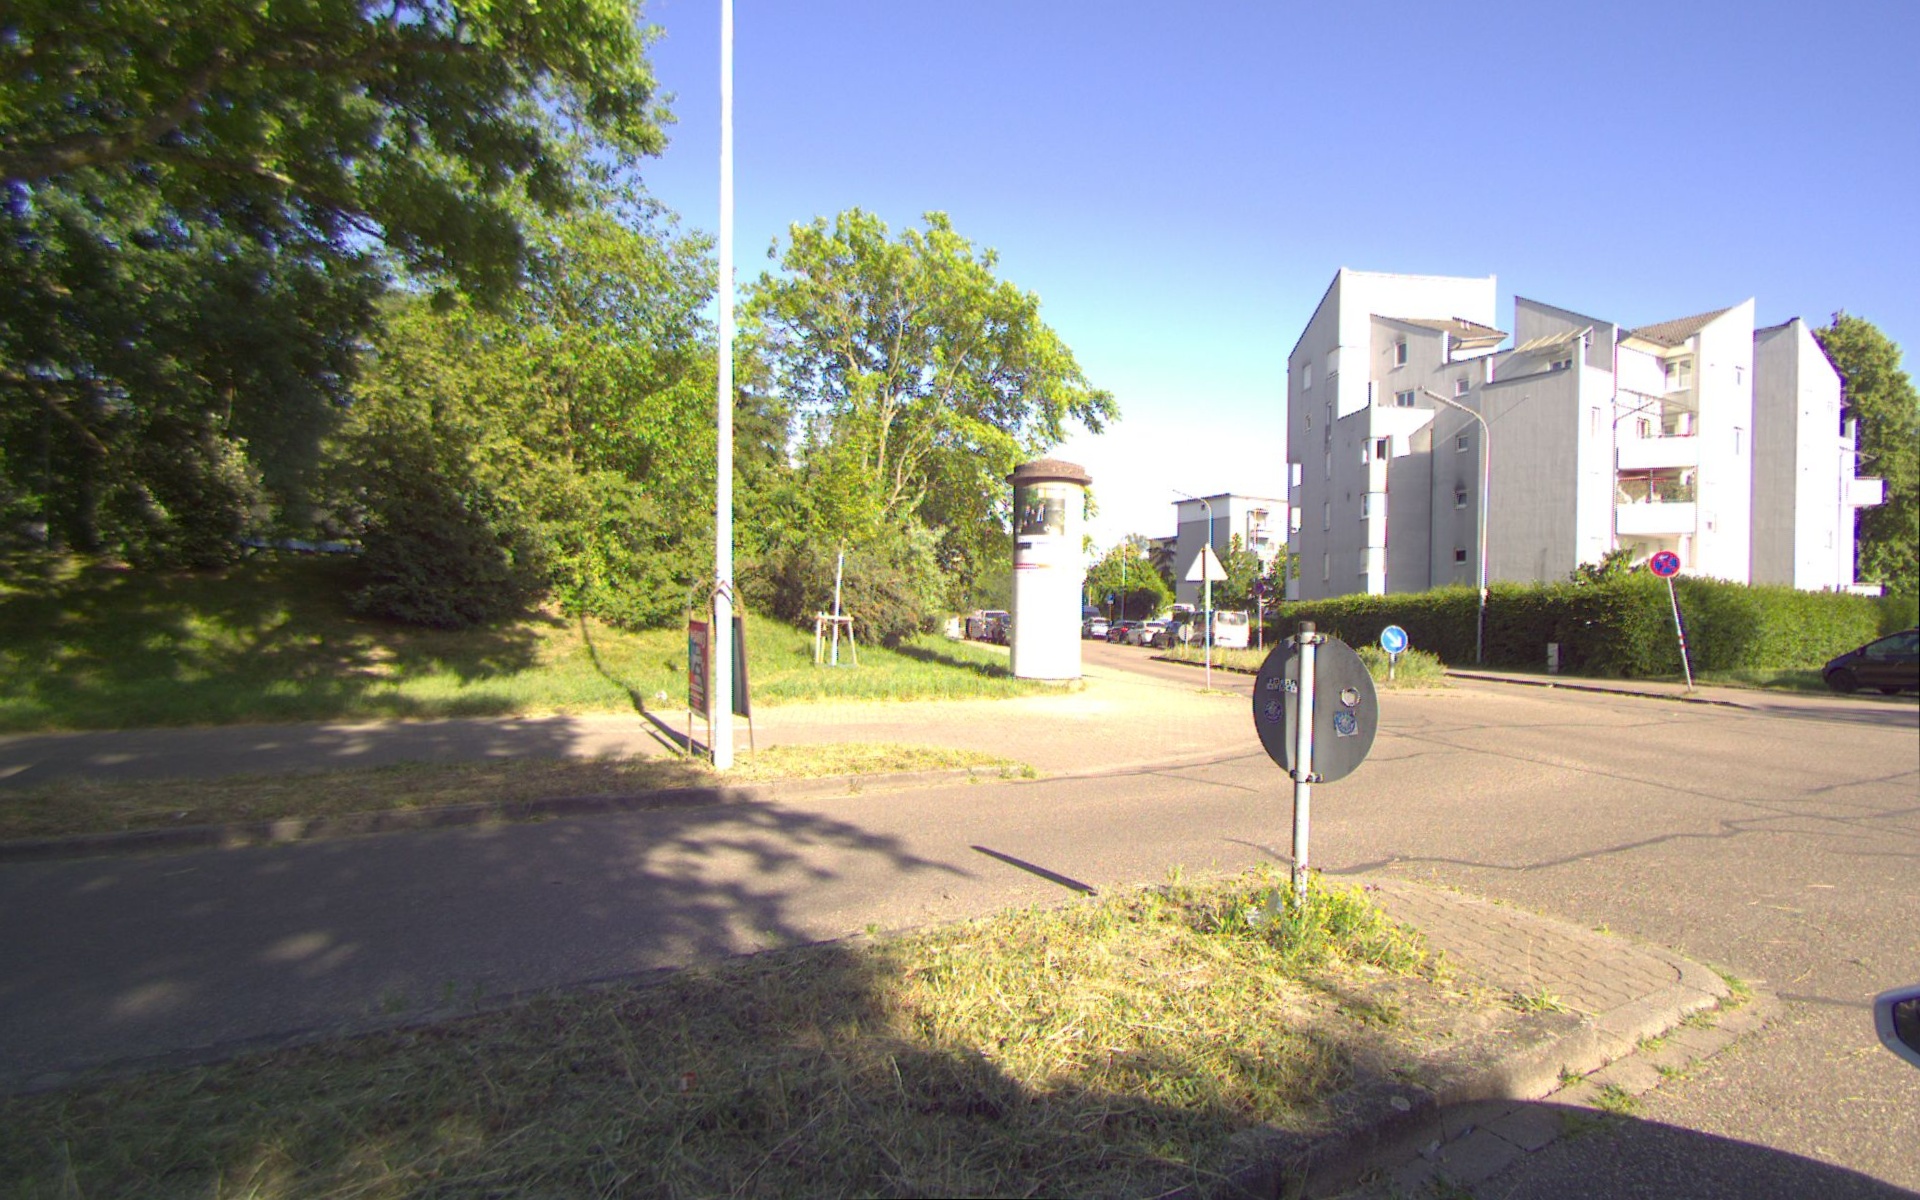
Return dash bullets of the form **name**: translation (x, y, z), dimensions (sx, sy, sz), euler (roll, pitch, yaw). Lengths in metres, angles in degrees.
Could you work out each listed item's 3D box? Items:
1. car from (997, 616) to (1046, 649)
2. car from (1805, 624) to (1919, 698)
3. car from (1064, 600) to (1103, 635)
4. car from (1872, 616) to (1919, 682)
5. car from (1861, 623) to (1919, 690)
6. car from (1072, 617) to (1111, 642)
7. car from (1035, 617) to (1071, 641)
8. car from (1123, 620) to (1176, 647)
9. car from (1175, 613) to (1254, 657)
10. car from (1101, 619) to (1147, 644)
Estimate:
- **car**: translation (2.956, 1.550, 48.729), dimensions (1.602, 1.548, 3.413), euler (1, -1, -11)
- **car**: translation (20.516, 1.283, 21.441), dimensions (1.674, 1.486, 3.525), euler (0, 0, -13)
- **car**: translation (9.614, 1.402, 78.493), dimensions (2.070, 2.519, 5.855), euler (3, -1, -2)
- **car**: translation (25.991, 1.235, 24.708), dimensions (1.759, 1.676, 4.979), euler (1, -1, -24)
- **car**: translation (22.794, 1.271, 22.444), dimensions (1.624, 1.516, 3.679), euler (0, -1, -17)
- **car**: translation (9.460, 2.094, 72.636), dimensions (1.879, 1.688, 4.372), euler (1, -1, -5)
- **car**: translation (6.562, 2.038, 71.364), dimensions (1.847, 1.665, 4.074), euler (1, -1, -4)
- **car**: translation (10.856, 1.901, 57.806), dimensions (1.879, 1.508, 4.372), euler (1, -1, -5)
- **car**: translation (11.926, 1.603, 47.446), dimensions (1.963, 1.937, 4.949), euler (1, -1, -6)
- **car**: translation (10.312, 1.978, 63.495), dimensions (1.879, 1.508, 4.372), euler (1, -1, -5)
